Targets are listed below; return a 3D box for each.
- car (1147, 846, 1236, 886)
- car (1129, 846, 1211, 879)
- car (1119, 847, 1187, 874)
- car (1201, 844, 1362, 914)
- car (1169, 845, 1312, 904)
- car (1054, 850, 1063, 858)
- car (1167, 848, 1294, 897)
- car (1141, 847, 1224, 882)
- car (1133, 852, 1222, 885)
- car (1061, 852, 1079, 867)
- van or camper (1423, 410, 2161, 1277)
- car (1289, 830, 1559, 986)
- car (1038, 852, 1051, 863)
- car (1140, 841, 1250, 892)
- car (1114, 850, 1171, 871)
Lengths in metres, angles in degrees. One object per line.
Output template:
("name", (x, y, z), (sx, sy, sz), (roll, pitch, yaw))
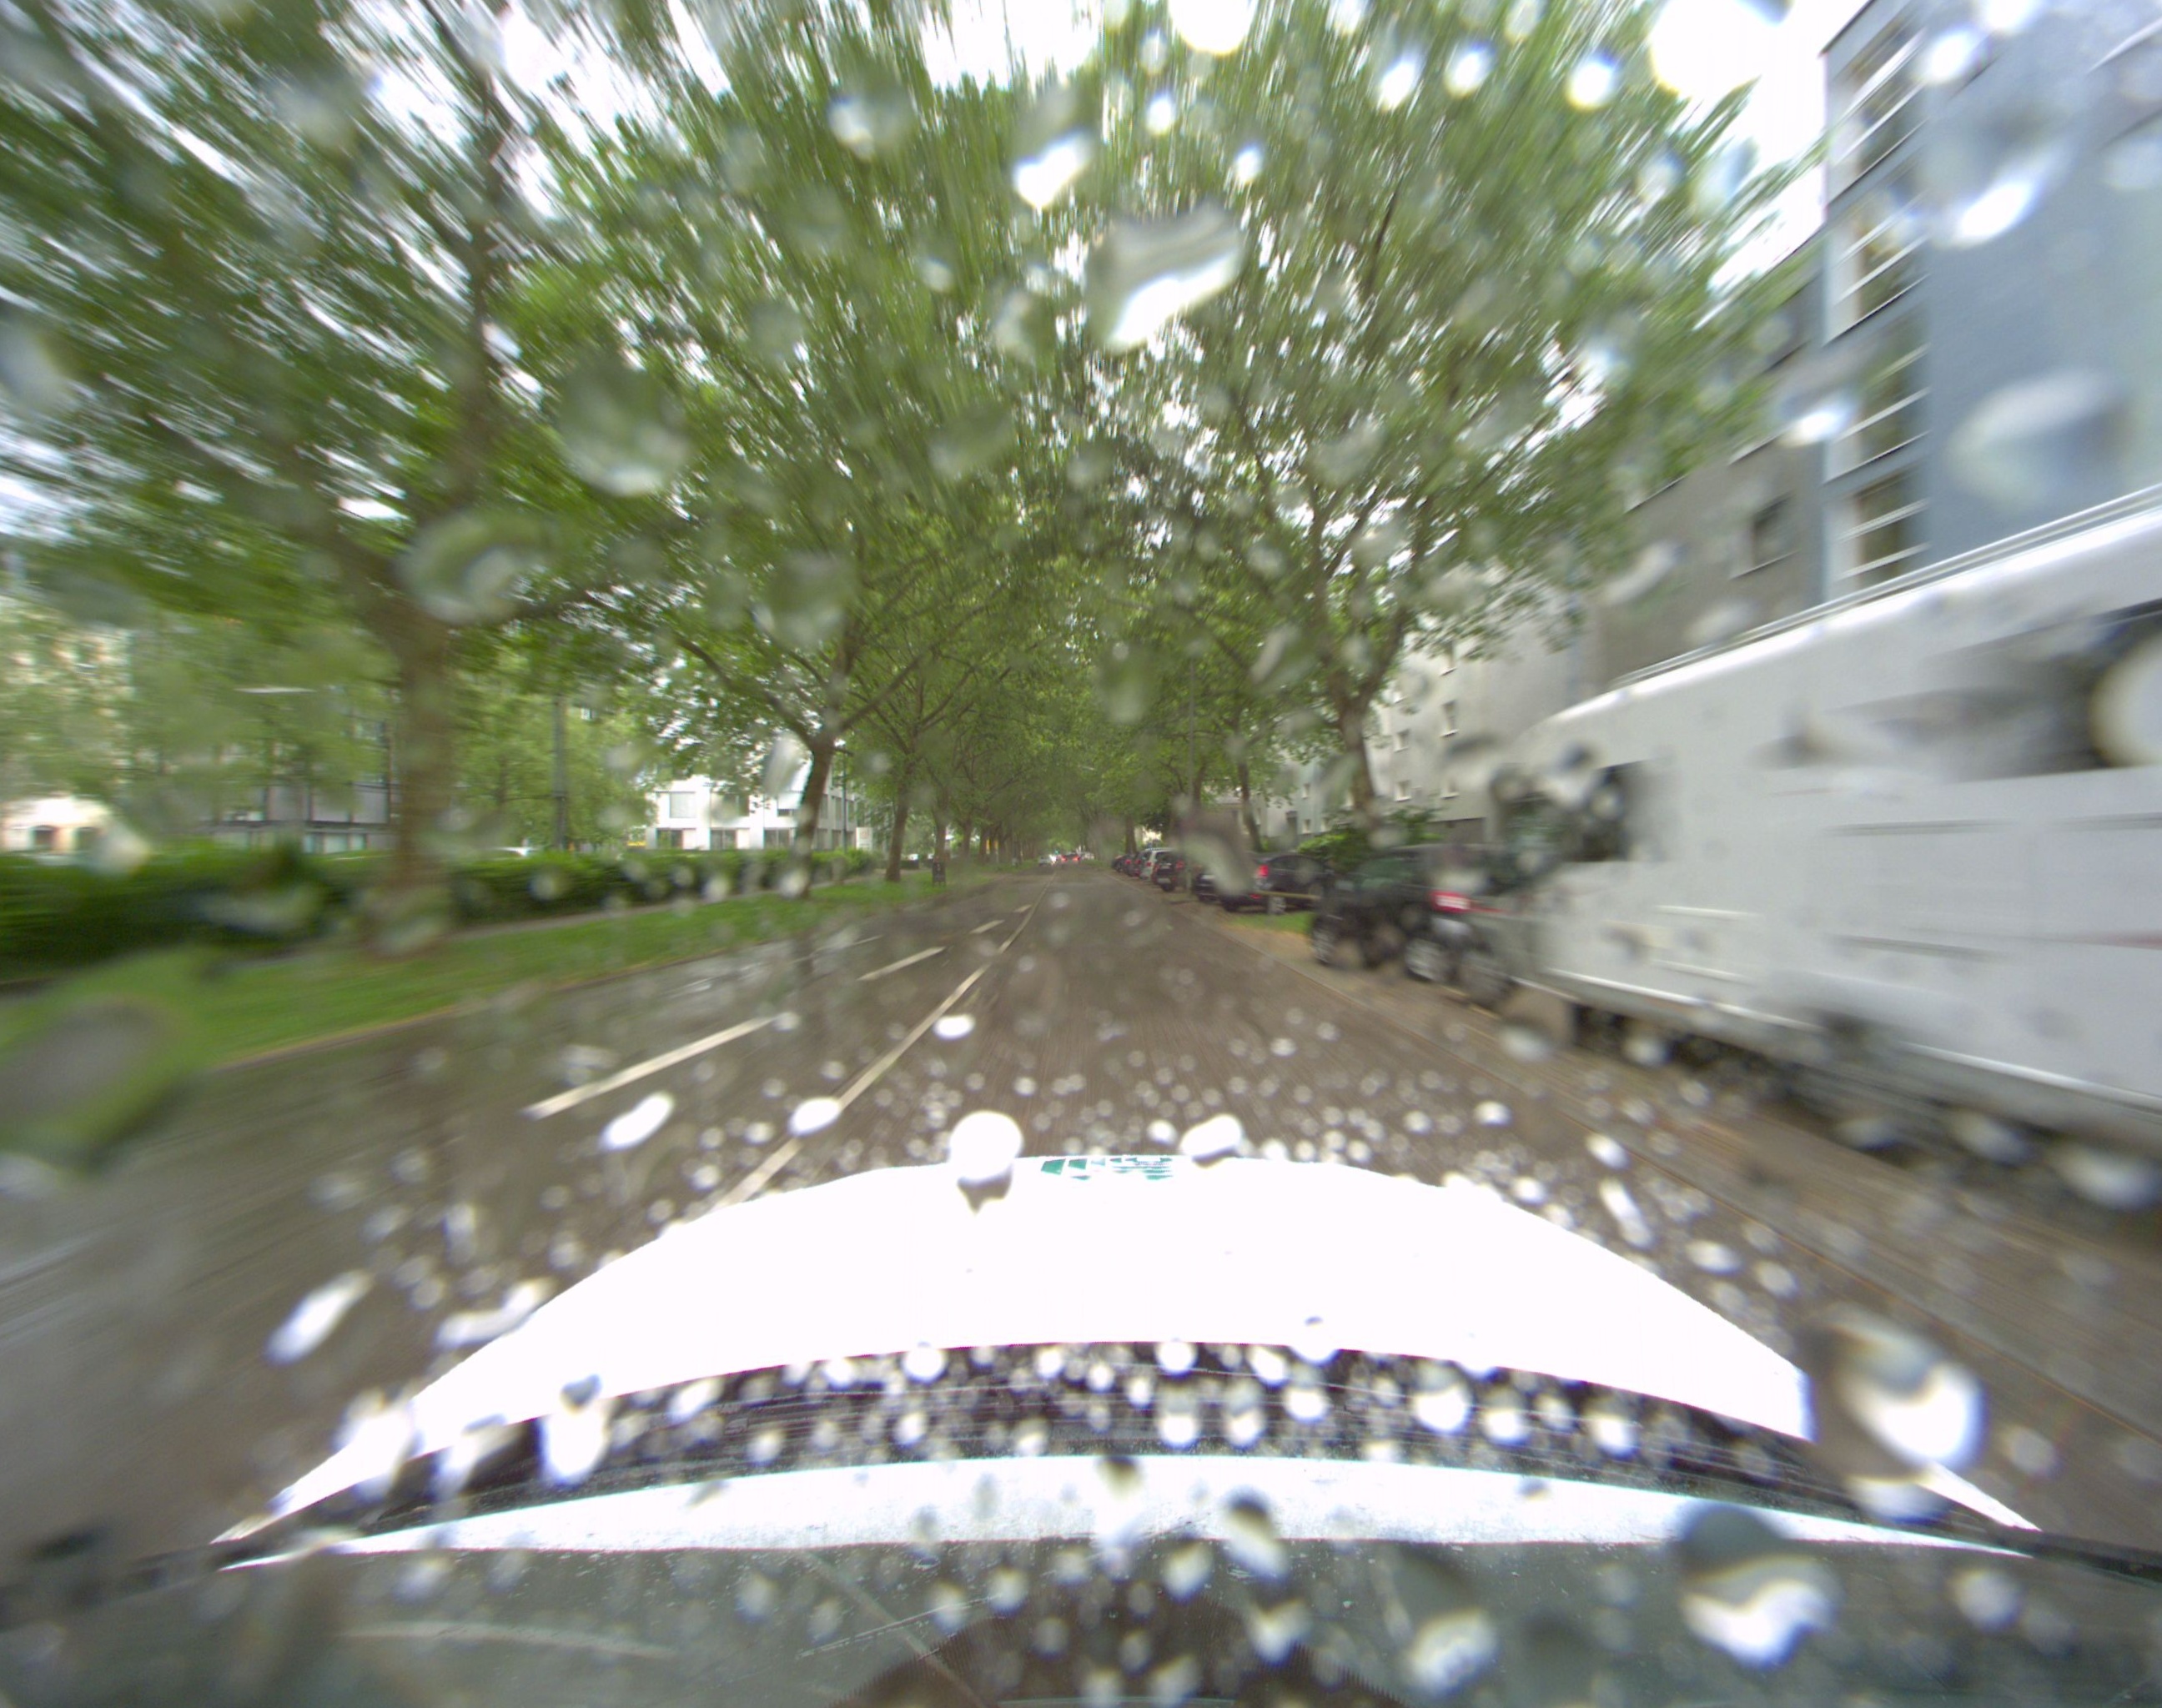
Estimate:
("car", (4.834, 0.513, 36.076), (3.689, 1.536, 1.739), (-3, 0, 1))
("car", (4.839, 0.428, 44.615), (4.325, 1.762, 1.818), (0, 0, -1))
("car", (4.556, 0.383, 51.654), (4.028, 1.441, 1.683), (-3, 1, -4))
("car", (5.040, 0.560, 20.404), (3.781, 1.601, 1.785), (0, 1, -31))
("car", (4.761, 0.554, 24.157), (4.013, 1.601, 1.785), (0, 1, -31))
("car", (-4.148, 0.041, 150.472), (1.701, 1.411, 3.643), (-3, 1, -1))
("car", (5.223, 0.592, 28.396), (4.010, 1.601, 2.017), (0, 1, -29))
("car", (5.068, 0.497, 41.140), (3.975, 1.727, 1.800), (0, 0, -1))
("car", (4.547, 0.654, 38.734), (3.978, 1.513, 1.799), (0, 0, -3))
("car", (-1.121, 0.508, 81.774), (1.701, 1.411, 3.643), (-3, 1, -1))
("van or camper", (4.693, -0.046, 5.123), (2.311, 2.807, 6.865), (0, 0, 1))
("car", (4.167, 0.559, 10.337), (1.691, 1.652, 2.929), (0, 1, -17))
("car", (-5.370, 0.510, 118.719), (1.673, 1.388, 4.548), (-2, 1, -1))
("car", (4.396, 0.427, 31.361), (3.879, 1.697, 1.820), (-3, 2, -29))
("car", (4.526, 0.464, 60.576), (4.033, 1.530, 1.778), (-1, 0, -4))
